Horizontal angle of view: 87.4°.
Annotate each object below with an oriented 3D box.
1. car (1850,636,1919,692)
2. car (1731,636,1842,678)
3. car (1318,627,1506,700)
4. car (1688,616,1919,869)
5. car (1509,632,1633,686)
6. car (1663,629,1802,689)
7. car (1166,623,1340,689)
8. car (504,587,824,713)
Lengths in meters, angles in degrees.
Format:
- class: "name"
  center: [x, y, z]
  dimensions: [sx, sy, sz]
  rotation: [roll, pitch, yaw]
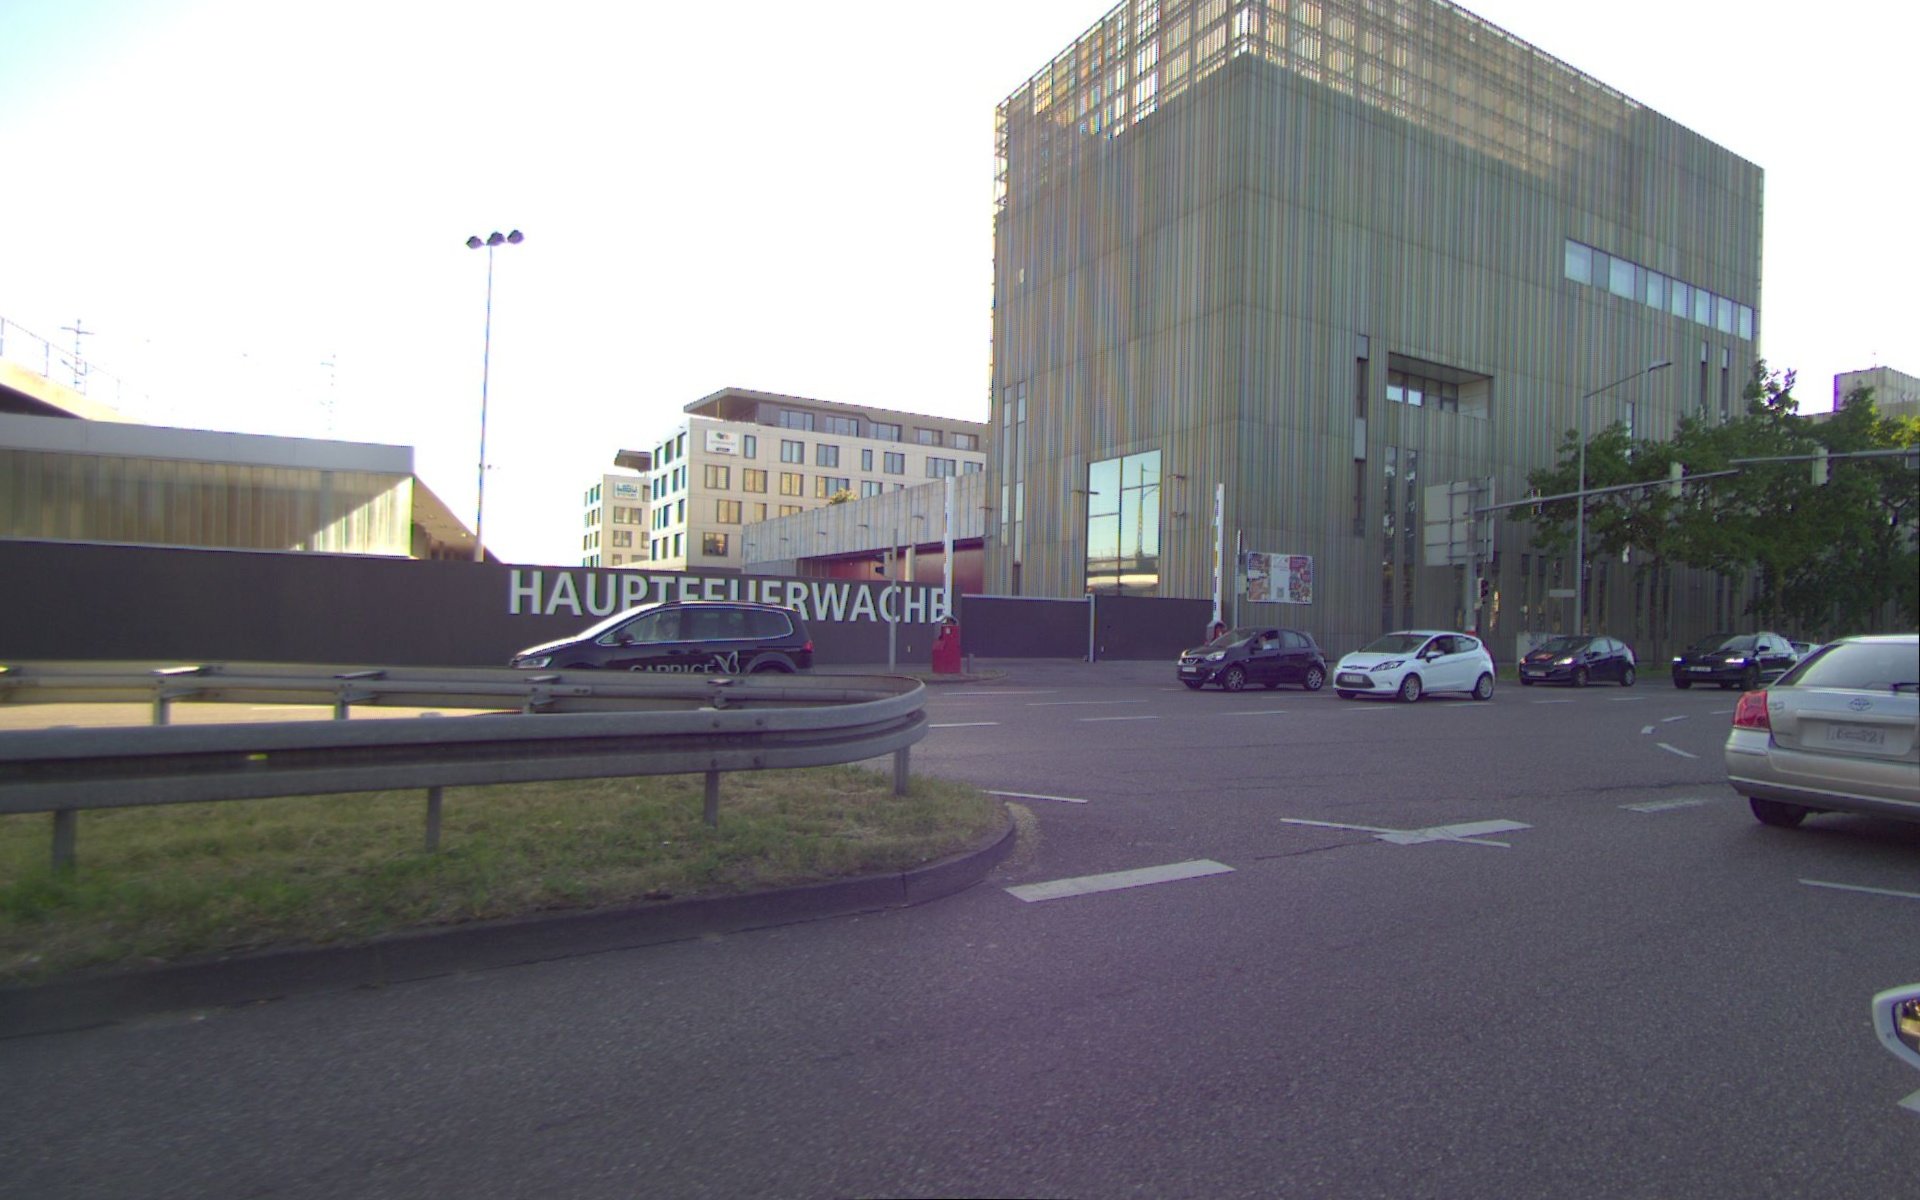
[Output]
- class: "car"
  center: [26.540, 1.771, 27.861]
  dimensions: [4.030, 1.462, 1.628]
  rotation: [3, -3, -31]
- class: "car"
  center: [30.094, 2.086, 36.562]
  dimensions: [4.507, 1.462, 1.681]
  rotation: [3, -3, -31]
- class: "car"
  center: [9.591, 1.345, 21.278]
  dimensions: [3.930, 1.423, 1.639]
  rotation: [2, -3, -30]
- class: "car"
  center: [7.463, 0.947, 7.451]
  dimensions: [4.267, 1.499, 1.725]
  rotation: [2, -1, -30]
- class: "car"
  center: [17.688, 1.713, 29.079]
  dimensions: [3.452, 1.453, 1.639]
  rotation: [3, -3, -31]
- class: "car"
  center: [21.763, 1.664, 28.273]
  dimensions: [4.348, 1.565, 1.638]
  rotation: [3, -3, -31]
- class: "car"
  center: [7.069, 1.368, 24.228]
  dimensions: [3.923, 1.501, 1.642]
  rotation: [2, -3, -25]
- class: "car"
  center: [-4.647, 0.818, 15.942]
  dimensions: [4.573, 1.760, 1.817]
  rotation: [2, -3, -29]
